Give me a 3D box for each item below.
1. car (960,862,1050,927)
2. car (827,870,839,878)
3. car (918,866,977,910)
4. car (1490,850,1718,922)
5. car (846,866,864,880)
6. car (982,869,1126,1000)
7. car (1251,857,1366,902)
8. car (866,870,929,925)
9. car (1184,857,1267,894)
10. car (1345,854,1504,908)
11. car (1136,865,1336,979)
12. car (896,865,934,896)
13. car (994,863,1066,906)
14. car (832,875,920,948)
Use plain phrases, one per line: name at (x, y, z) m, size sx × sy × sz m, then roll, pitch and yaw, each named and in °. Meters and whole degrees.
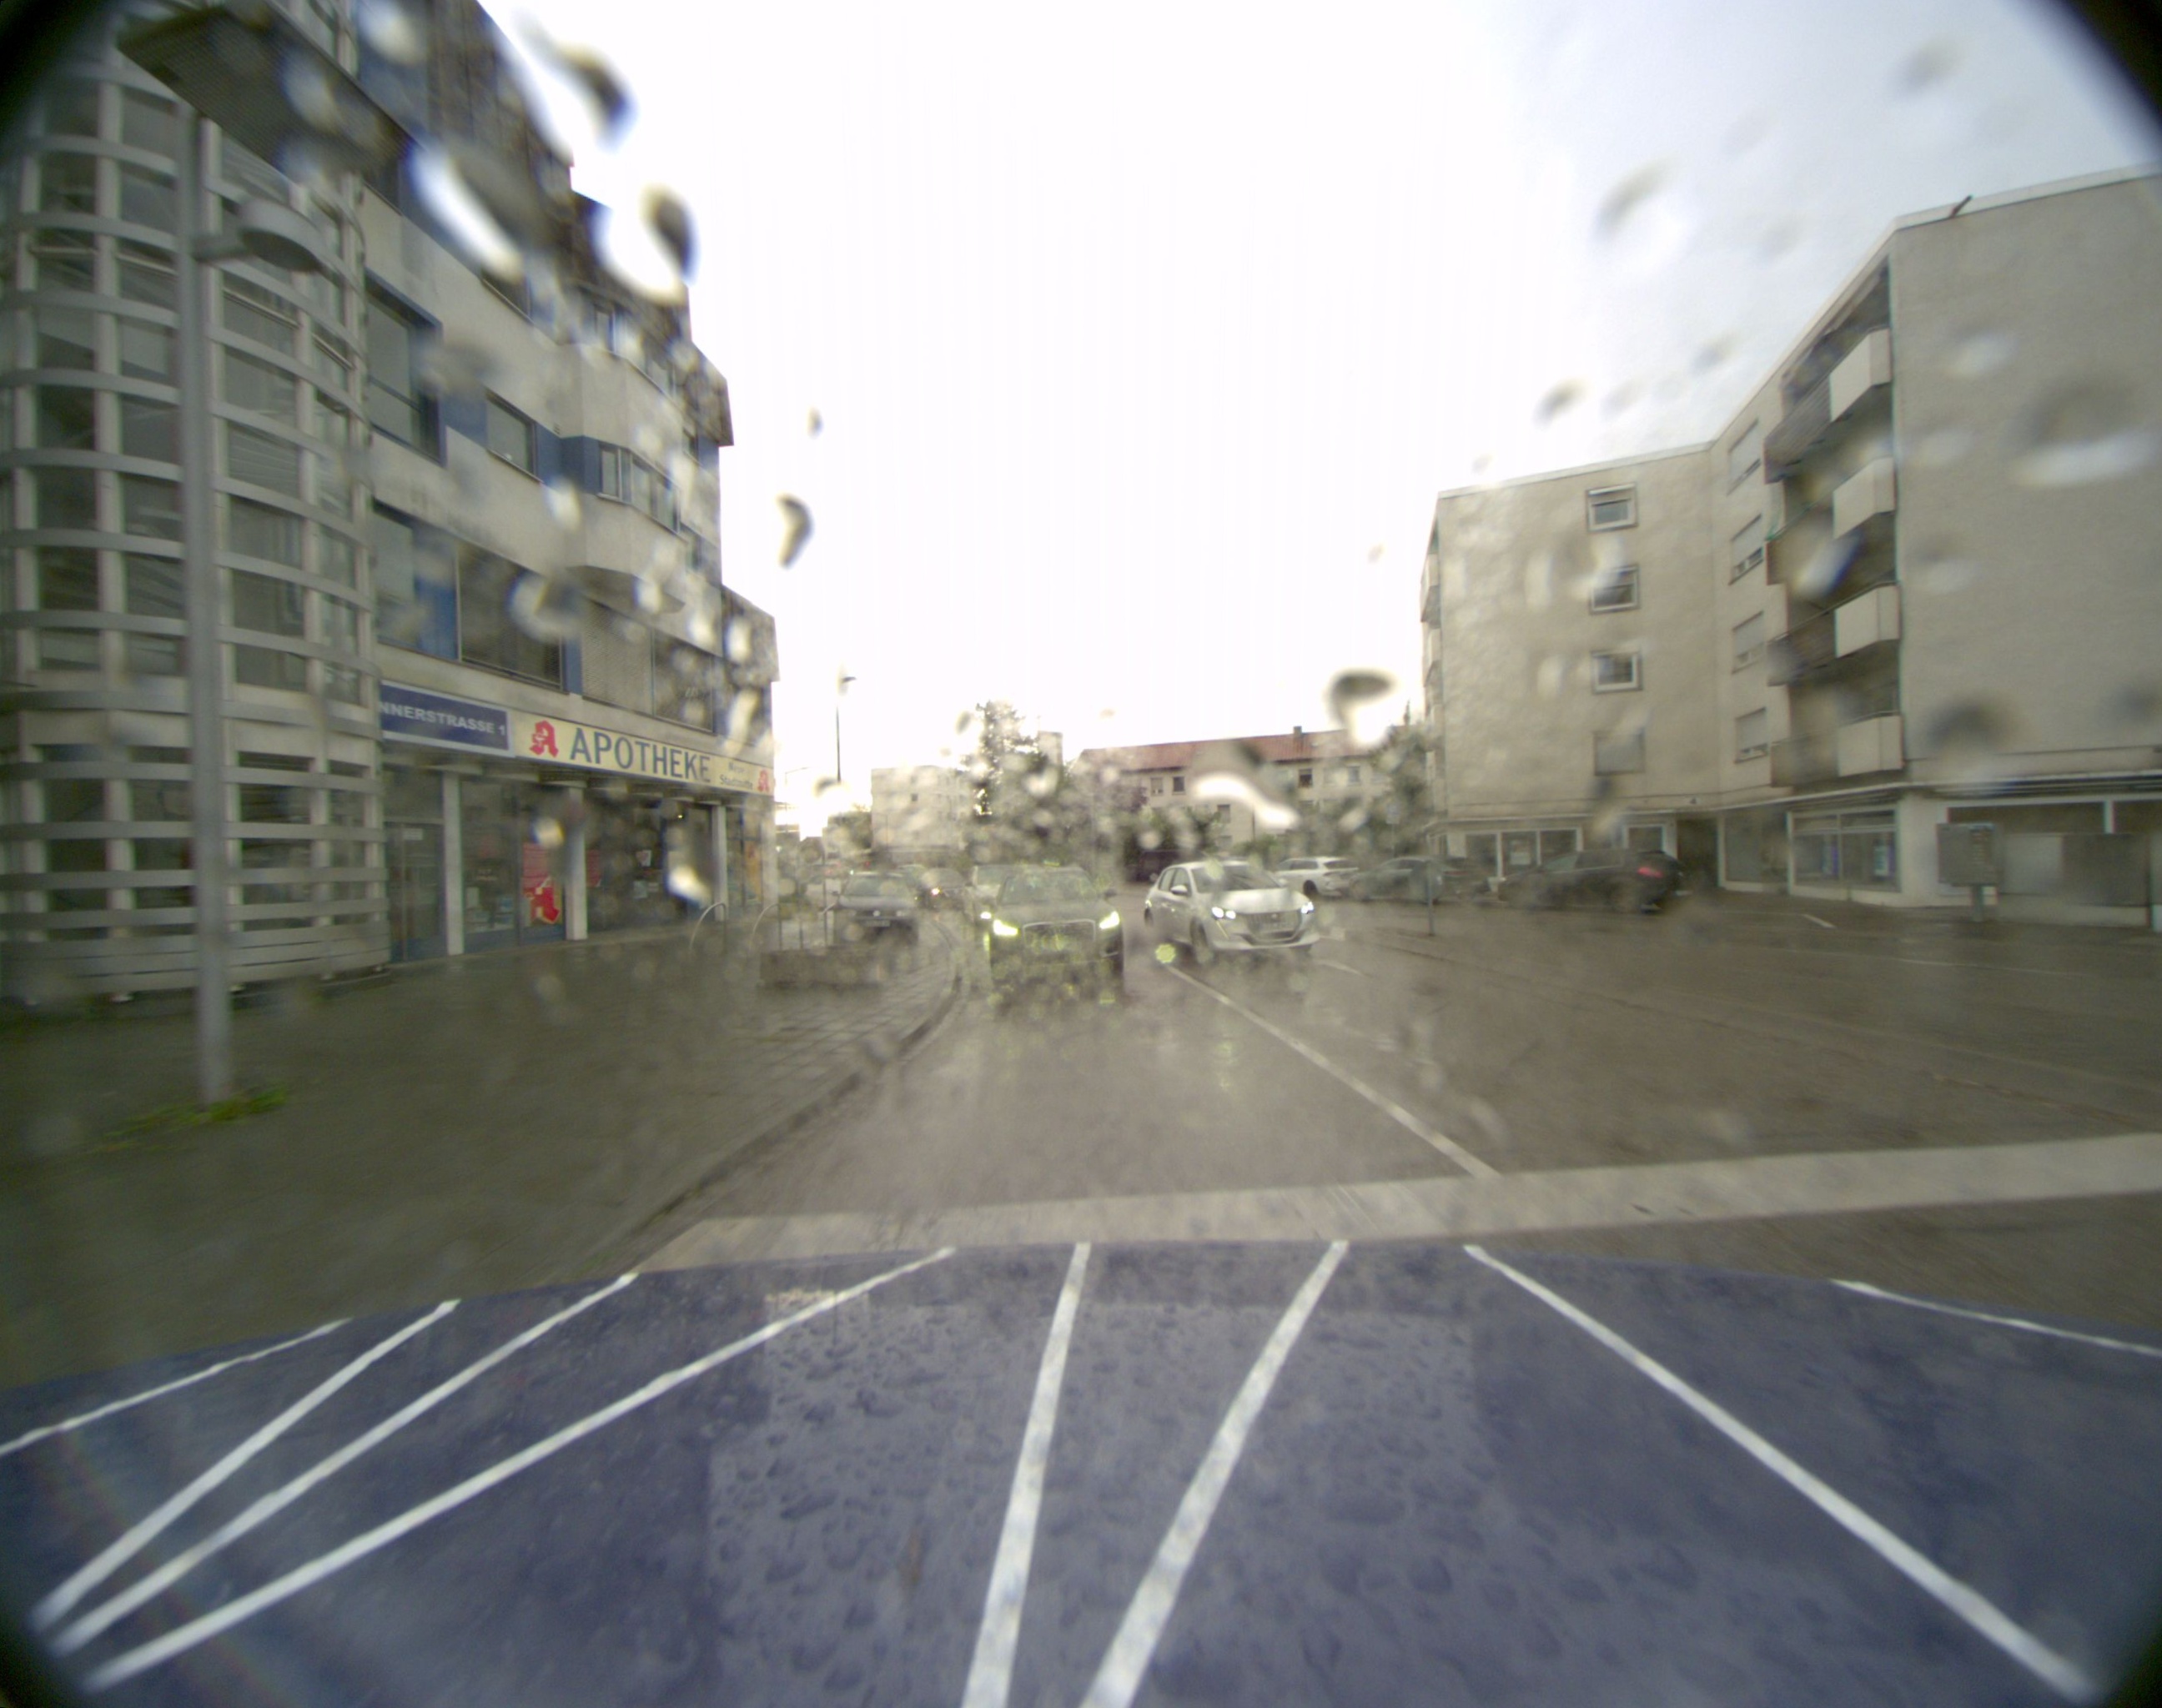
car at (-2.179, 1.036, 20.675) m, size 1.736 × 1.519 × 4.058 m, roll -2°, pitch -1°, yaw -15°
car at (-46.117, 3.654, 141.374) m, size 1.874 × 1.428 × 3.733 m, roll -2°, pitch 0°, yaw -23°
car at (-5.037, 1.207, 28.262) m, size 1.803 × 1.361 × 3.968 m, roll -2°, pitch 1°, yaw -15°
car at (12.414, 0.694, 18.365) m, size 1.839 × 1.451 × 4.180 m, roll -3°, pitch 1°, yaw -23°
car at (-26.761, 2.227, 89.827) m, size 1.747 × 1.630 × 3.993 m, roll -2°, pitch 0°, yaw -21°
car at (-0.507, 1.032, 11.459) m, size 1.735 × 1.436 × 4.044 m, roll -2°, pitch 1°, yaw -5°
car at (8.310, 0.888, 28.132) m, size 1.639 × 1.491 × 4.338 m, roll -2°, pitch 0°, yaw -24°
car at (-5.571, 1.239, 22.854) m, size 1.660 × 1.416 × 3.995 m, roll -2°, pitch 0°, yaw -15°
car at (6.244, 0.894, 33.279) m, size 1.636 × 1.496 × 3.873 m, roll -2°, pitch 0°, yaw -23°
car at (10.370, 0.769, 23.324) m, size 1.839 × 1.426 × 4.266 m, roll -3°, pitch 1°, yaw -24°
car at (2.256, 0.937, 12.195) m, size 1.744 × 1.401 × 3.893 m, roll -4°, pitch 0°, yaw -11°
car at (-9.862, 1.524, 44.918) m, size 2.001 × 1.606 × 3.995 m, roll -4°, pitch 0°, yaw -14°
car at (-2.055, 1.109, 29.431) m, size 1.753 × 1.446 × 3.807 m, roll -2°, pitch 1°, yaw -20°
car at (-4.510, 1.176, 16.766) m, size 1.656 × 1.364 × 3.726 m, roll 1°, pitch -1°, yaw -15°
